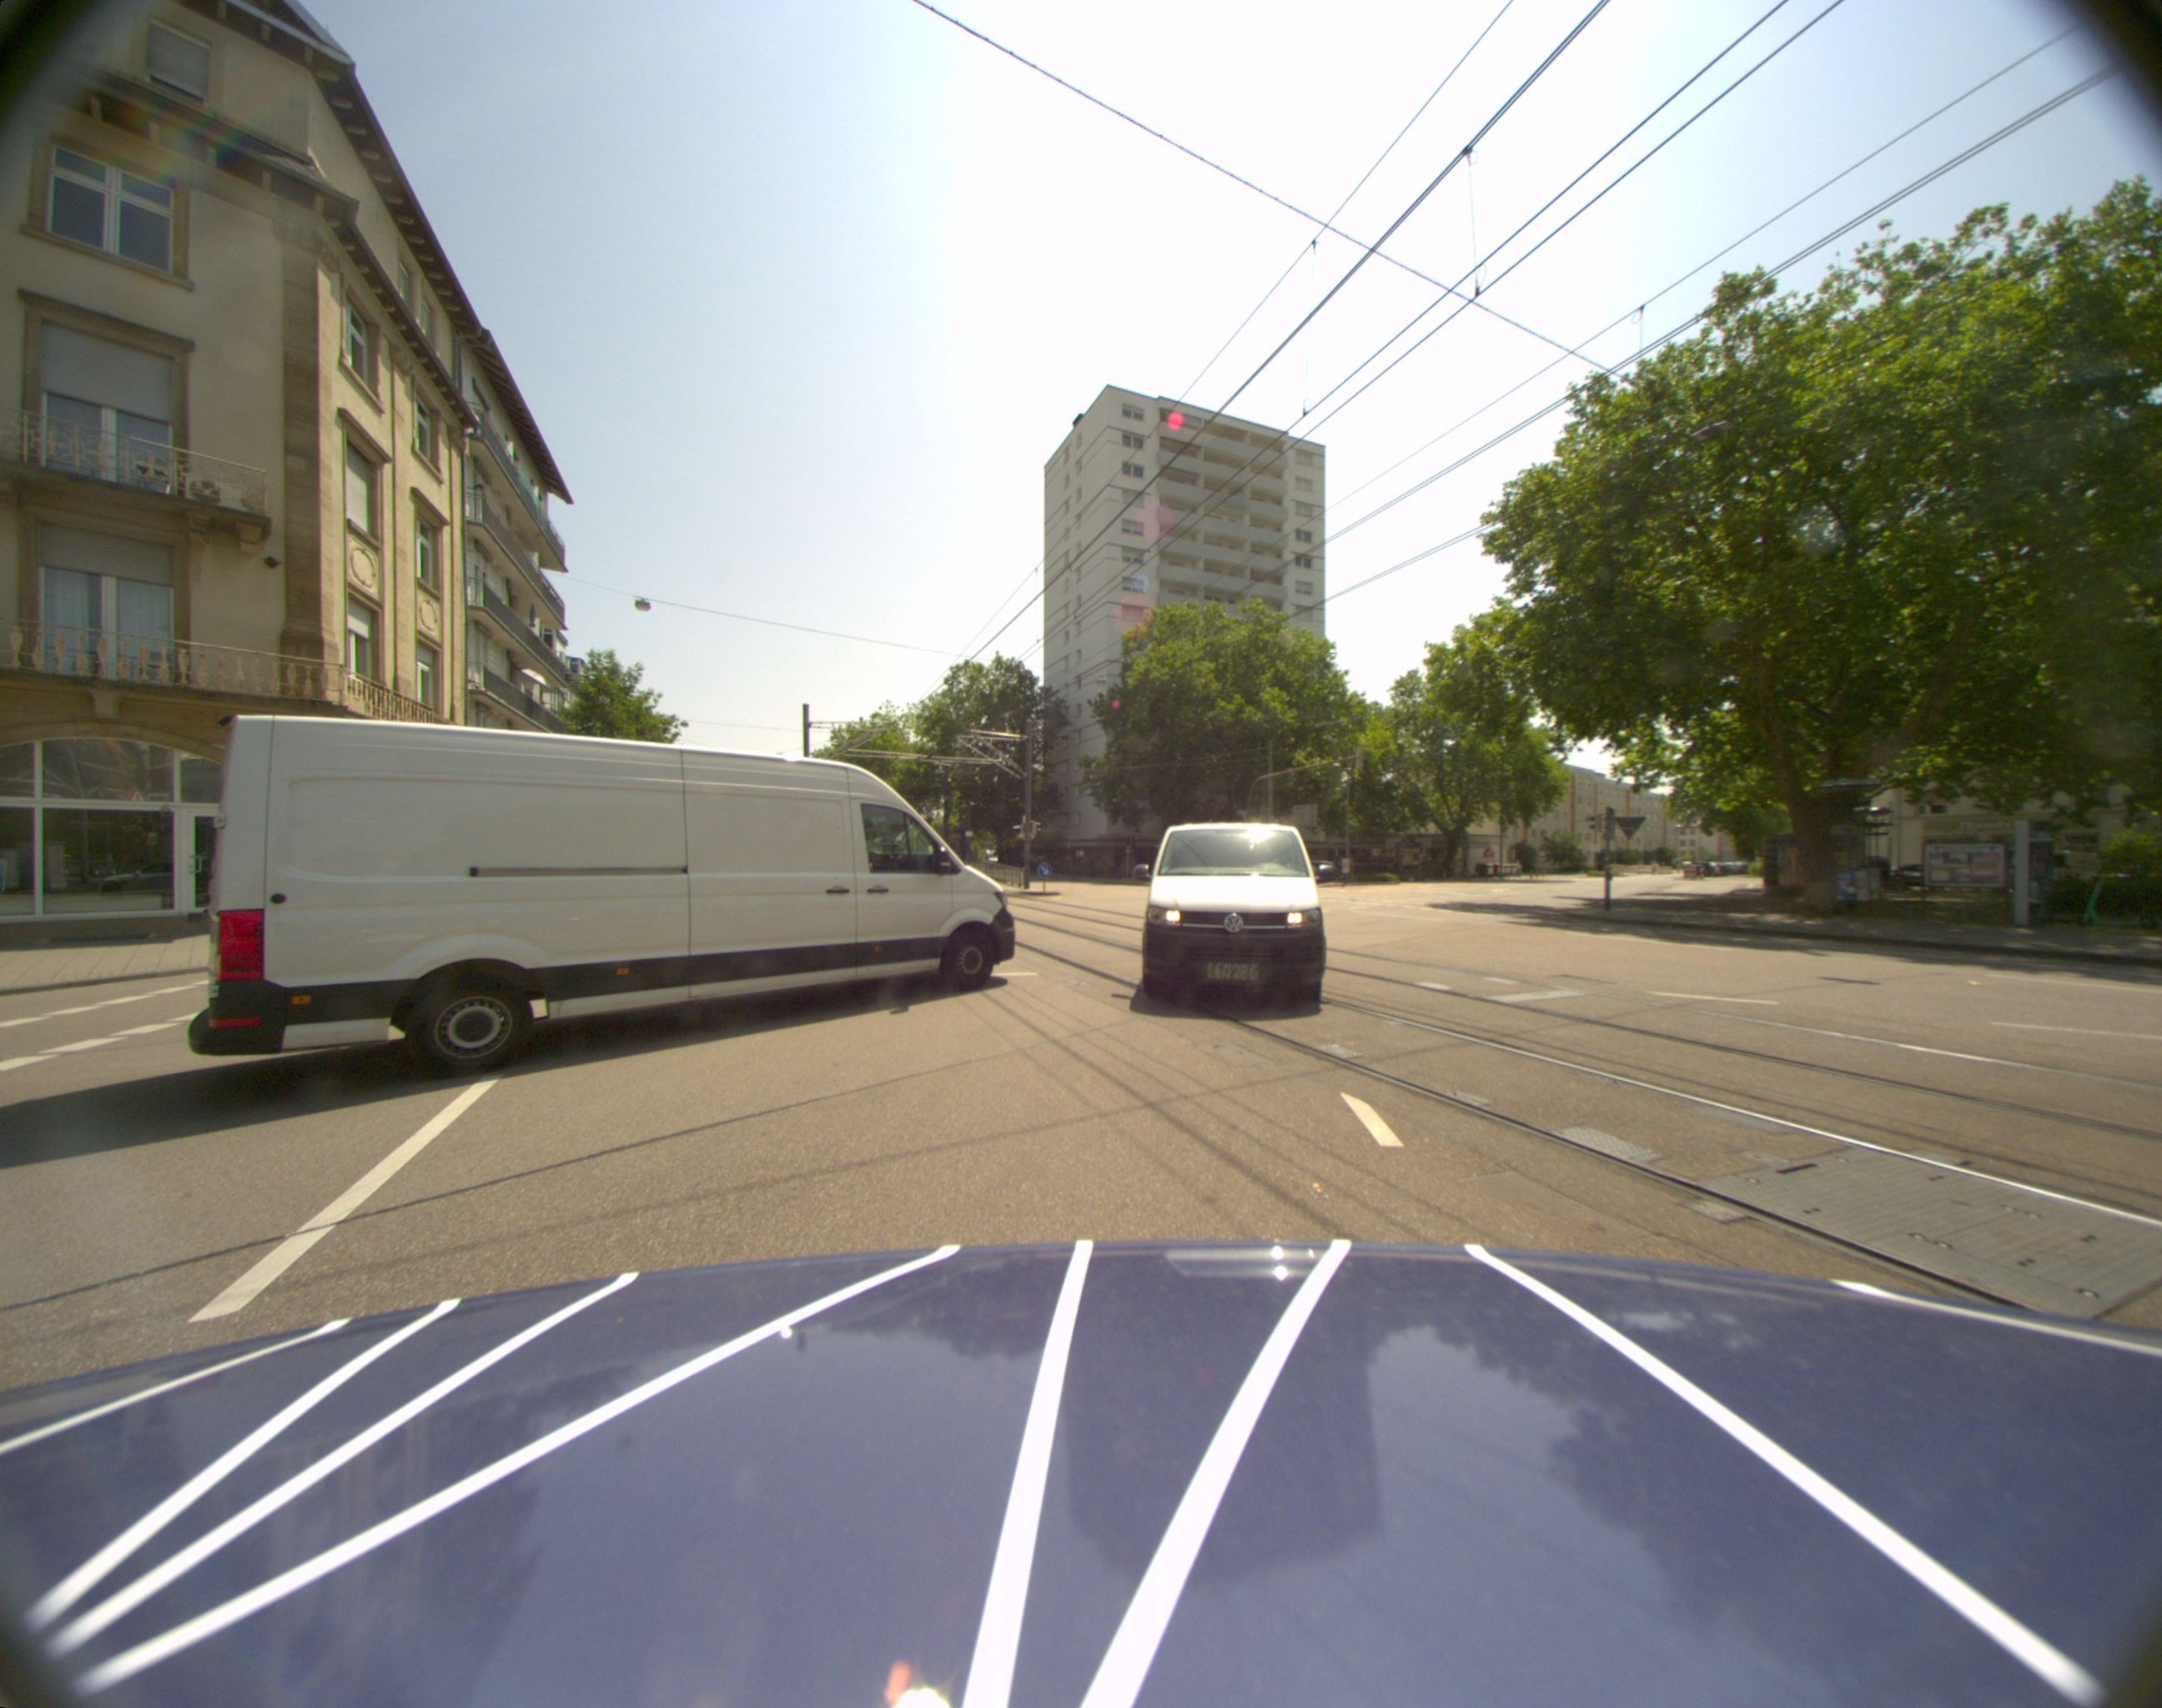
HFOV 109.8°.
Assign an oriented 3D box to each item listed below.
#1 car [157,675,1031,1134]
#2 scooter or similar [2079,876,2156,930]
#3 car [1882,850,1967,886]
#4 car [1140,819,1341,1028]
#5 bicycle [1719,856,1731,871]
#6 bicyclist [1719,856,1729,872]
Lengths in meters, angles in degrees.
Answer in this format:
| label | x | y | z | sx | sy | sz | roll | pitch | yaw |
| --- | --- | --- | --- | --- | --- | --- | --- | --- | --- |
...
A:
| label | x | y | z | sx | sy | sz | roll | pitch | yaw |
| --- | --- | --- | --- | --- | --- | --- | --- | --- | --- |
| car | -3.661 | 0.281 | 7.432 | 2.071 | 2.622 | 6.648 | 0 | 1 | 44 |
| scooter or similar | 22.853 | 1.057 | 16.776 | 0.257 | 1.114 | 0.976 | -1 | 1 | -11 |
| car | 49.981 | 0.811 | 45.041 | 4.003 | 2.002 | 1.996 | -1 | 1 | -19 |
| car | 1.801 | 0.674 | 9.612 | 1.851 | 1.942 | 4.946 | 0 | -1 | 7 |
| bicycle | 67.542 | 0.953 | 79.686 | 1.846 | 1.546 | 0.595 | -1 | 1 | -39 |
| bicyclist | 67.148 | 1.045 | 79.377 | 0.789 | 1.725 | 0.703 | -2 | 1 | -41 |
